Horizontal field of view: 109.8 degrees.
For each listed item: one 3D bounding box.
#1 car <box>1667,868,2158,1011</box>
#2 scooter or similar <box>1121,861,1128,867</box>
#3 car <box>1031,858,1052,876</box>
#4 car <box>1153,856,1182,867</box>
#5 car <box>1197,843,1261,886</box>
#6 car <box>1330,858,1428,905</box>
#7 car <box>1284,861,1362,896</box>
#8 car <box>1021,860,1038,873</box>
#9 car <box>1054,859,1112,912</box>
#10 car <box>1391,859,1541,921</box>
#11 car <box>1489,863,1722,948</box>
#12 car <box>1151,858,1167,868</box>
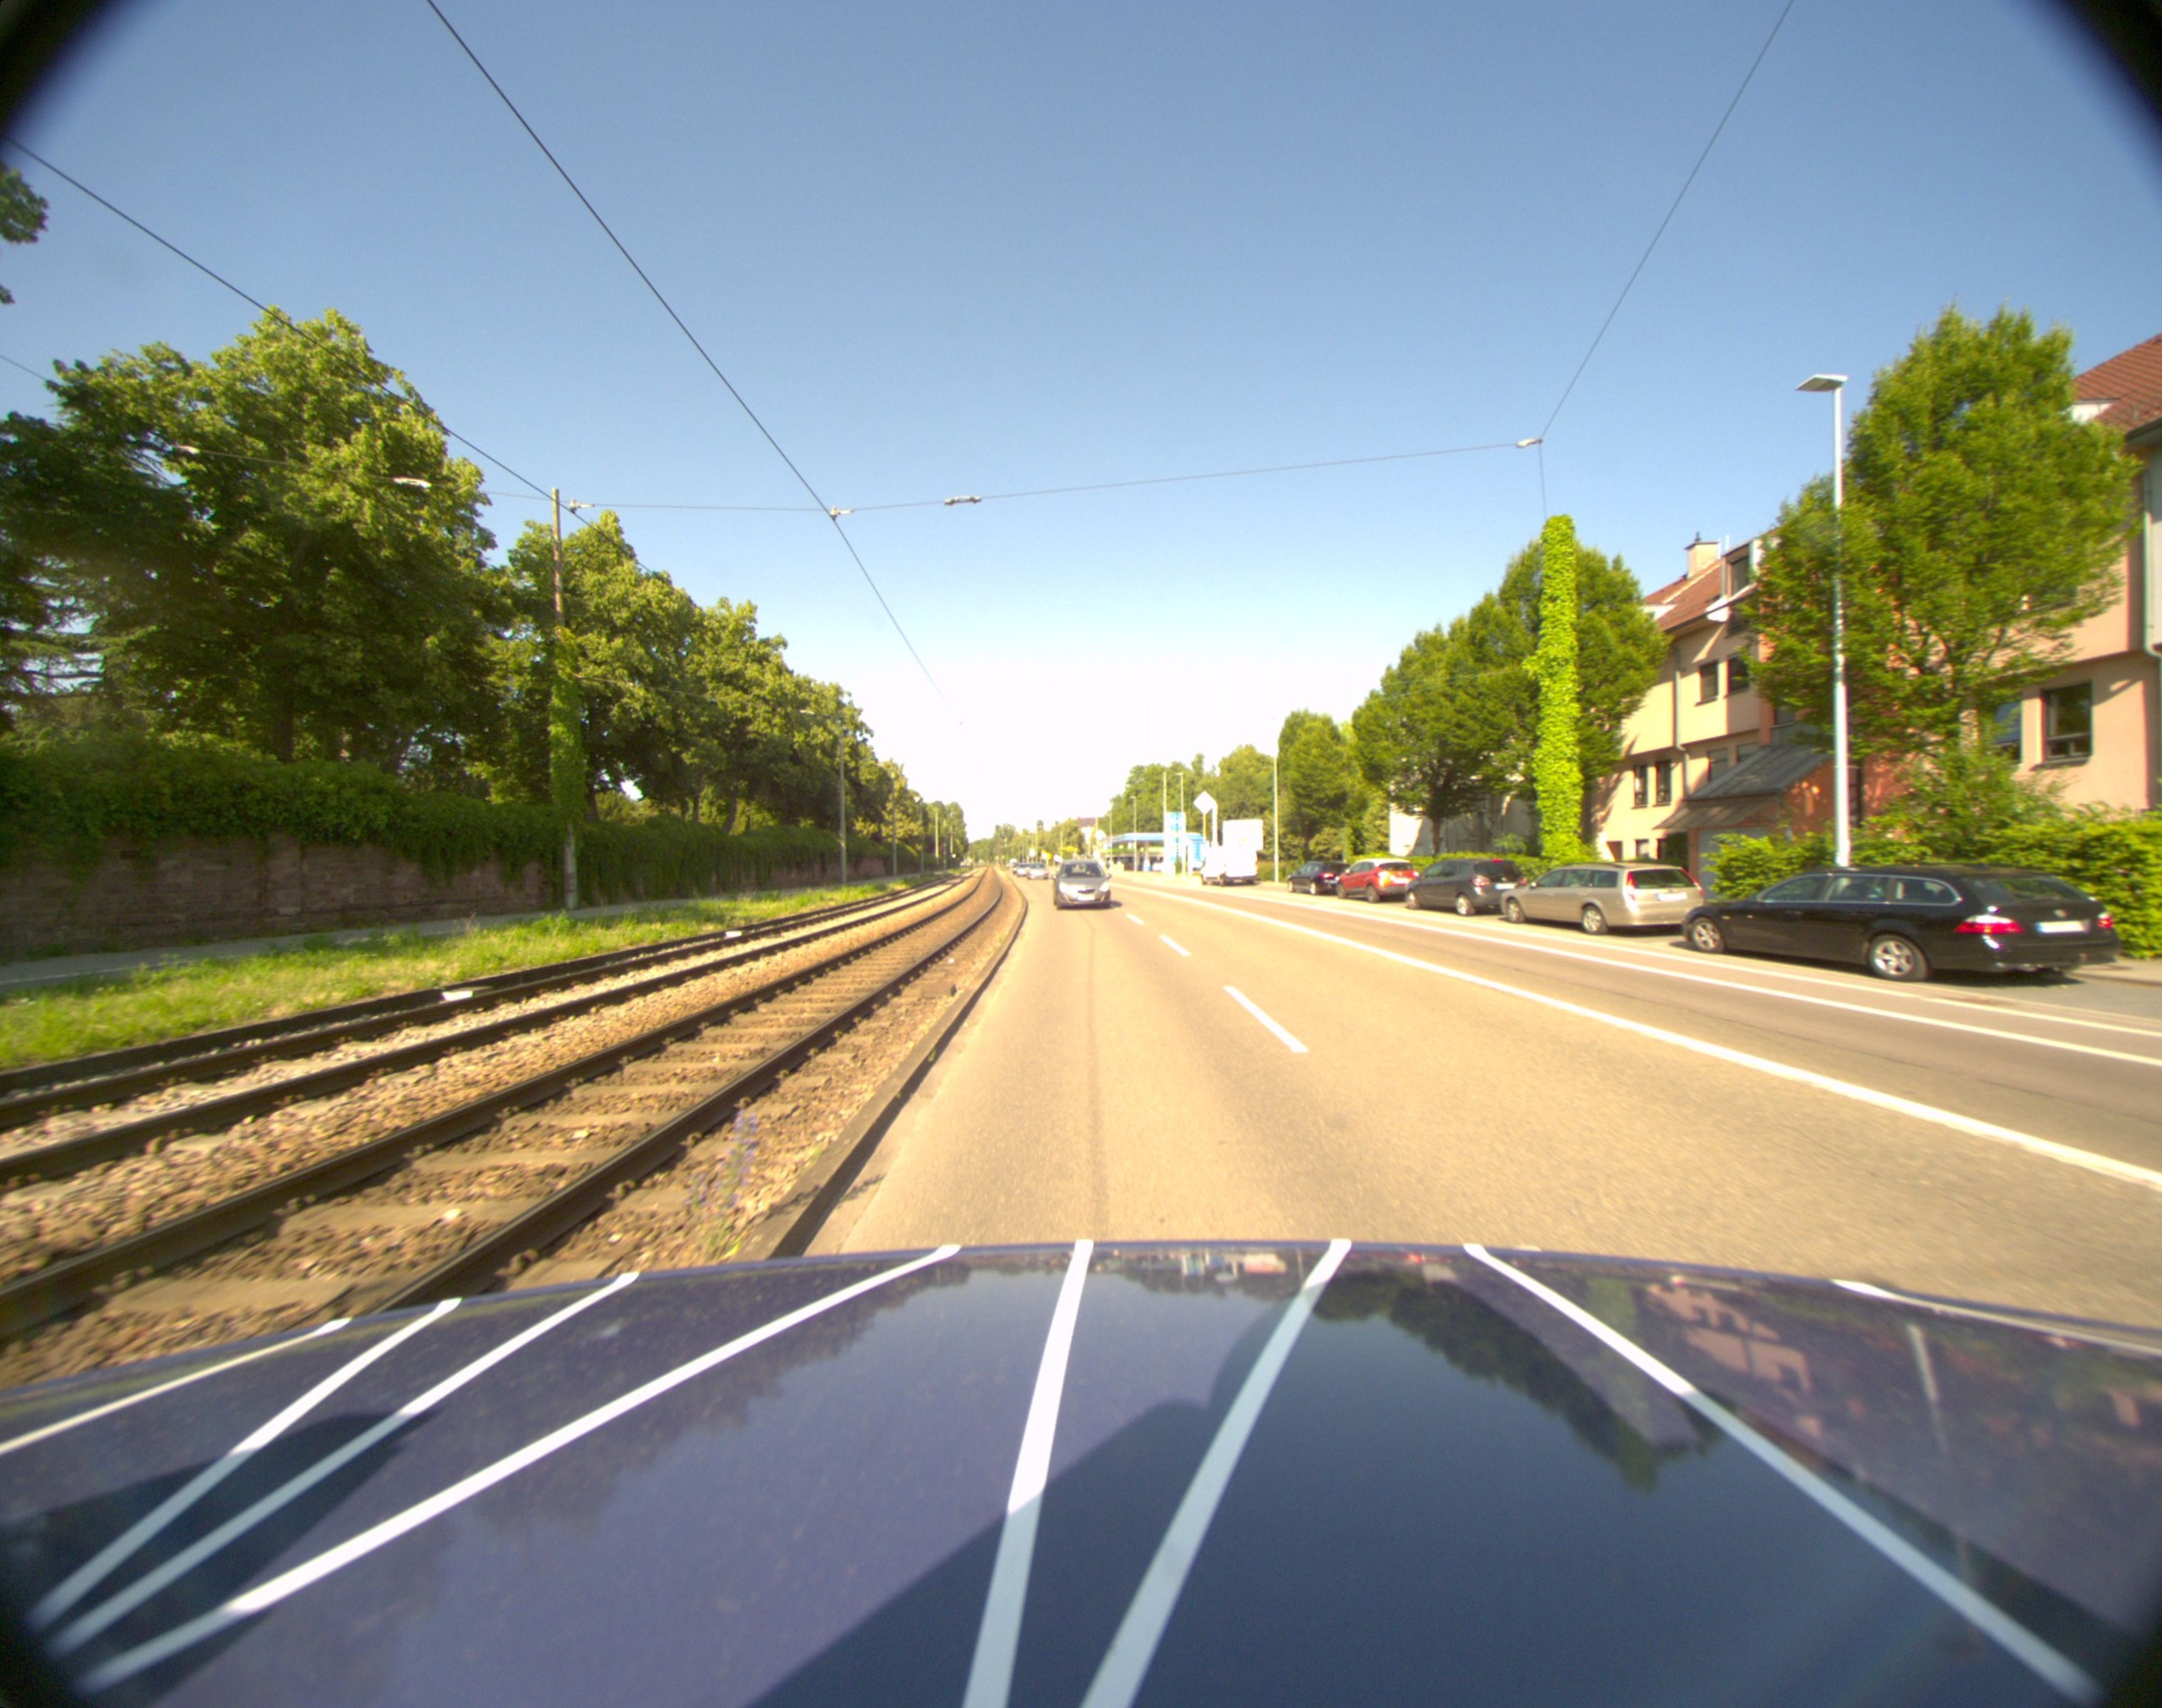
[{"bbox_3d":[11.343,1.021,11.087,1.714,1.463,4.909,-3,0,-1],"label":"car"},{"bbox_3d":[7.770,1.809,136.300,1.144,1.110,0.350,0,0,3],"label":"scooter or similar"},{"bbox_3d":[-3.559,1.141,67.655,1.710,1.487,3.998,-2,0,-4],"label":"car"},{"bbox_3d":[15.458,1.316,136.058,5.084,1.929,1.857,0,0,-2],"label":"car"},{"bbox_3d":[9.328,0.646,48.588,2.159,2.443,6.180,-3,0,-7],"label":"car"},{"bbox_3d":[10.978,0.961,28.311,1.767,1.565,4.160,-1,0,-4],"label":"car"},{"bbox_3d":[10.606,1.033,33.683,1.657,1.416,4.711,-1,0,-4],"label":"car"},{"bbox_3d":[-5.473,1.285,80.306,1.579,1.306,3.998,-2,0,-7],"label":"car"},{"bbox_3d":[0.048,0.991,25.217,1.730,1.573,3.763,-1,0,-1],"label":"car"},{"bbox_3d":[11.170,0.965,22.473,1.768,1.564,4.434,-2,0,-7],"label":"car"},{"bbox_3d":[11.405,1.015,17.041,1.717,1.463,4.843,-2,1,-2],"label":"car"},{"bbox_3d":[12.220,1.360,118.830,1.742,1.481,4.273,0,0,-5],"label":"car"}]
